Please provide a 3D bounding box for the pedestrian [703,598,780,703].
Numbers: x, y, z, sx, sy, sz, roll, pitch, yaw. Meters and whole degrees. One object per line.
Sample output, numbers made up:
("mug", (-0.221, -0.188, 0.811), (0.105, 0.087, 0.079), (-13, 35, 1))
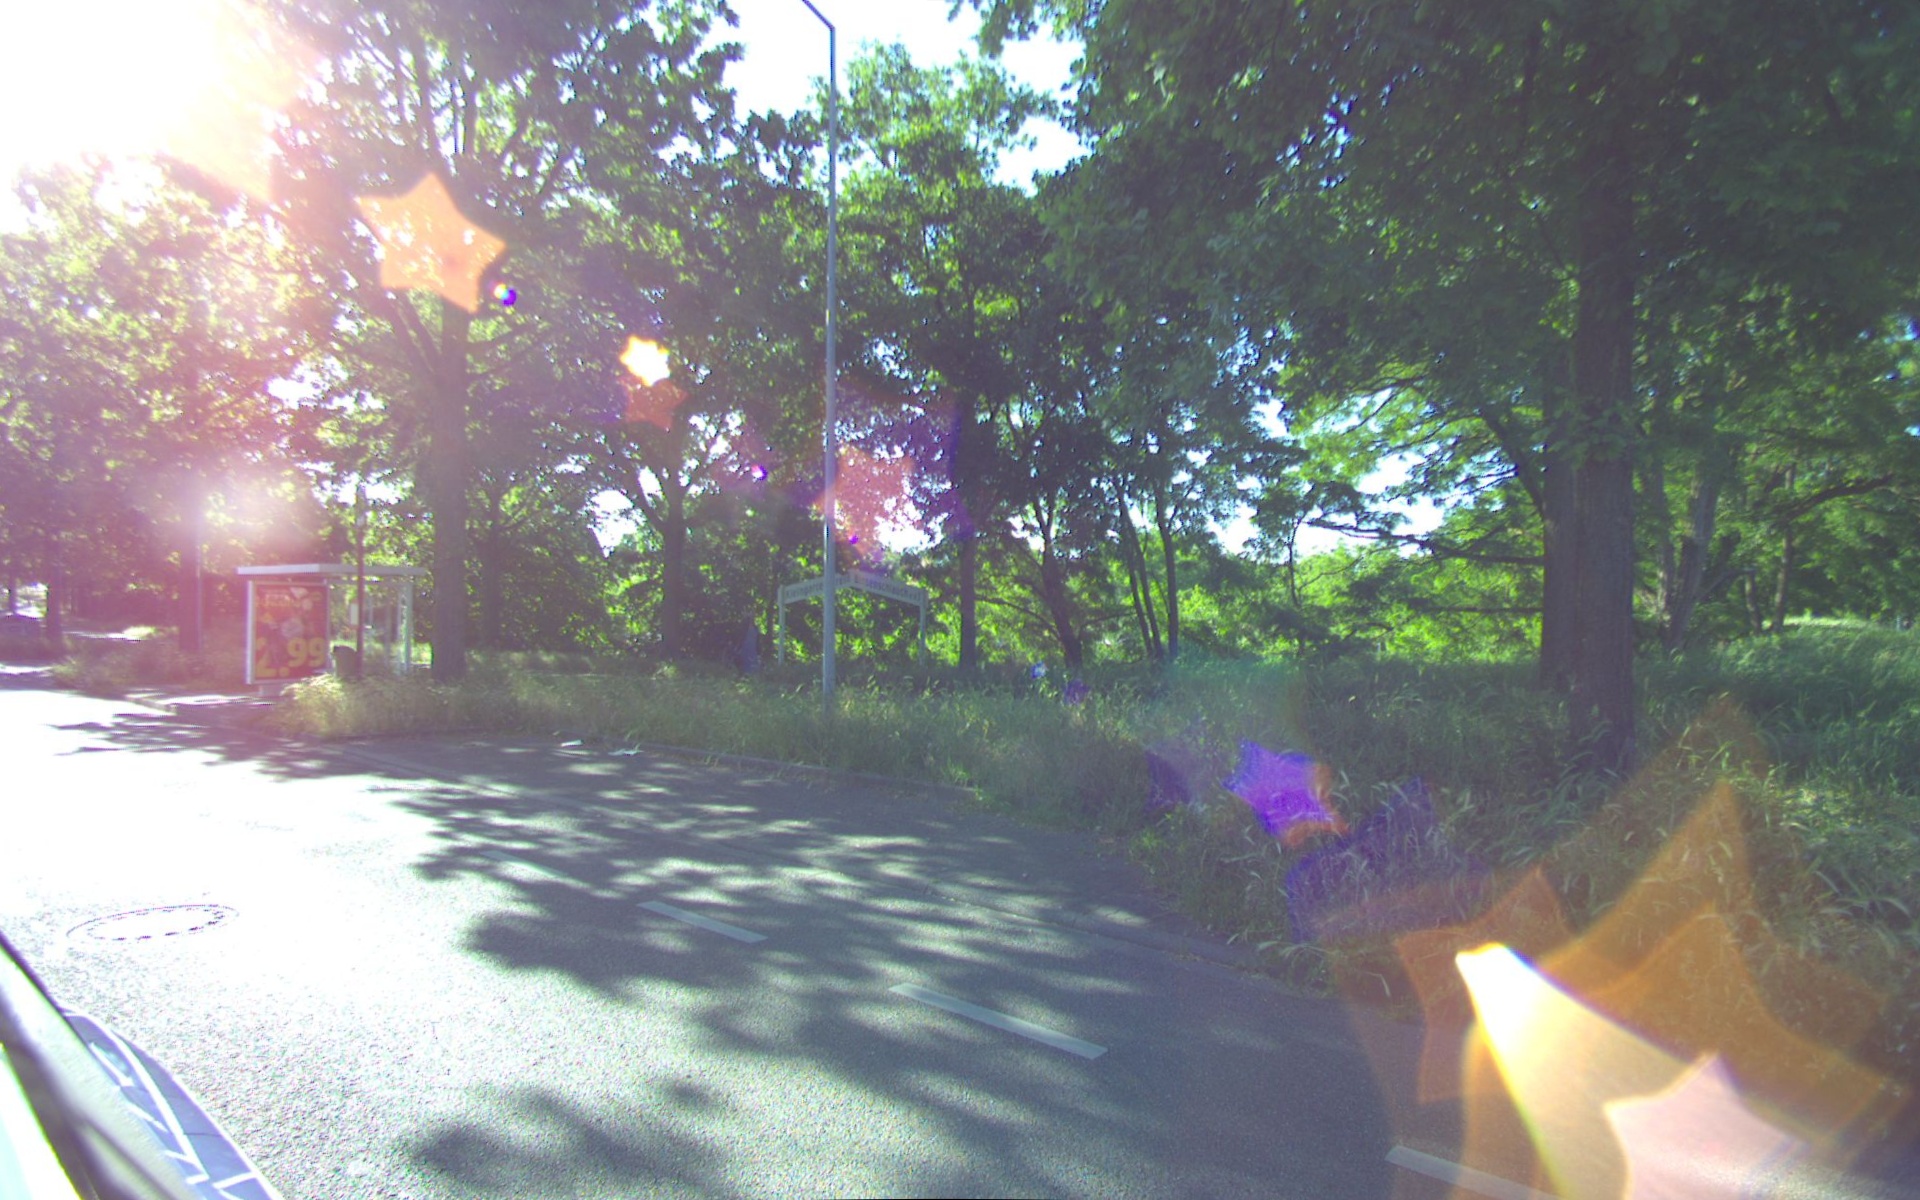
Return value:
("pedestrian", (-3.712, 0.838, 17.215), (0.891, 1.701, 0.903), (-2, -1, 42))
